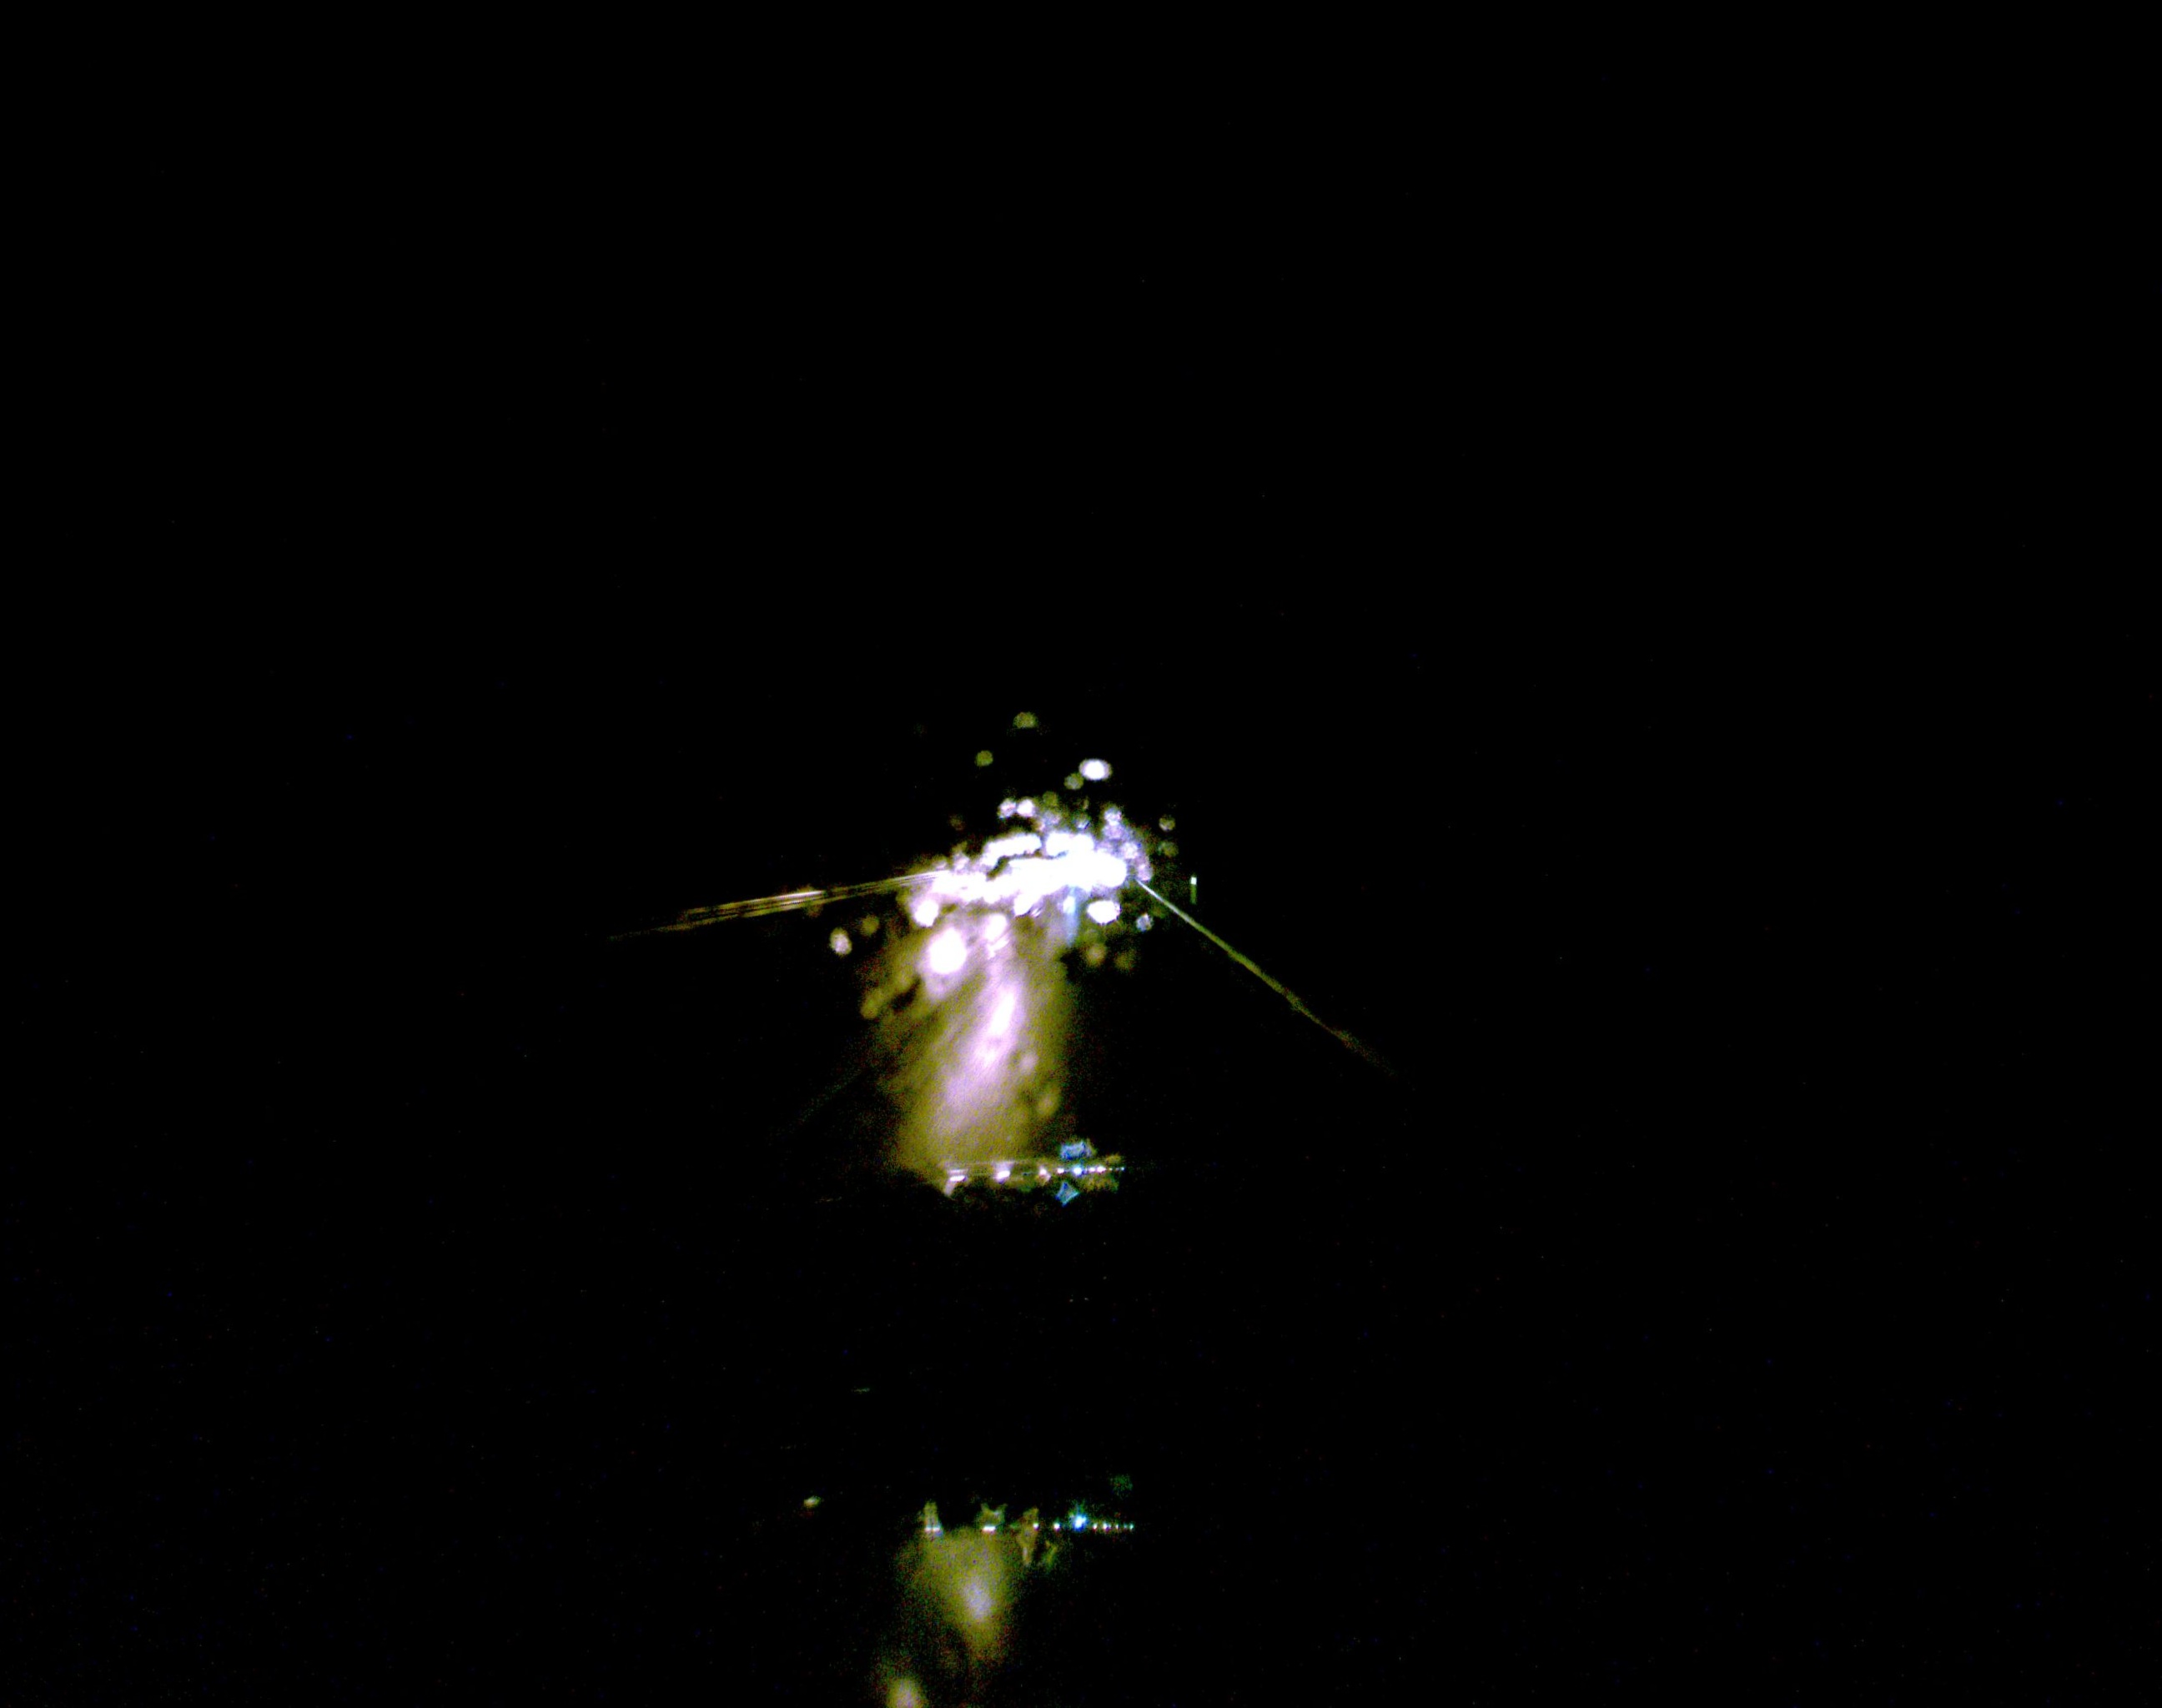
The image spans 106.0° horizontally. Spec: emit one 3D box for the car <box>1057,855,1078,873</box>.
[{"bbox_3d":[-1.137,0.810,68.210,1.639,1.425,4.122,2,0,0],"label":"car"}]

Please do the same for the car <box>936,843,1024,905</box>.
[{"bbox_3d":[-2.780,0.489,23.398,1.802,1.600,4.633,0,1,1],"label":"car"}]

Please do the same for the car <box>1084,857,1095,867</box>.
[{"bbox_3d":[1.319,1.214,123.793,1.710,1.517,3.879,-1,0,2],"label":"car"}]

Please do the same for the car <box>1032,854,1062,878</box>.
[{"bbox_3d":[-2.059,0.710,50.187,1.639,1.425,3.659,-1,0,1],"label":"car"}]
